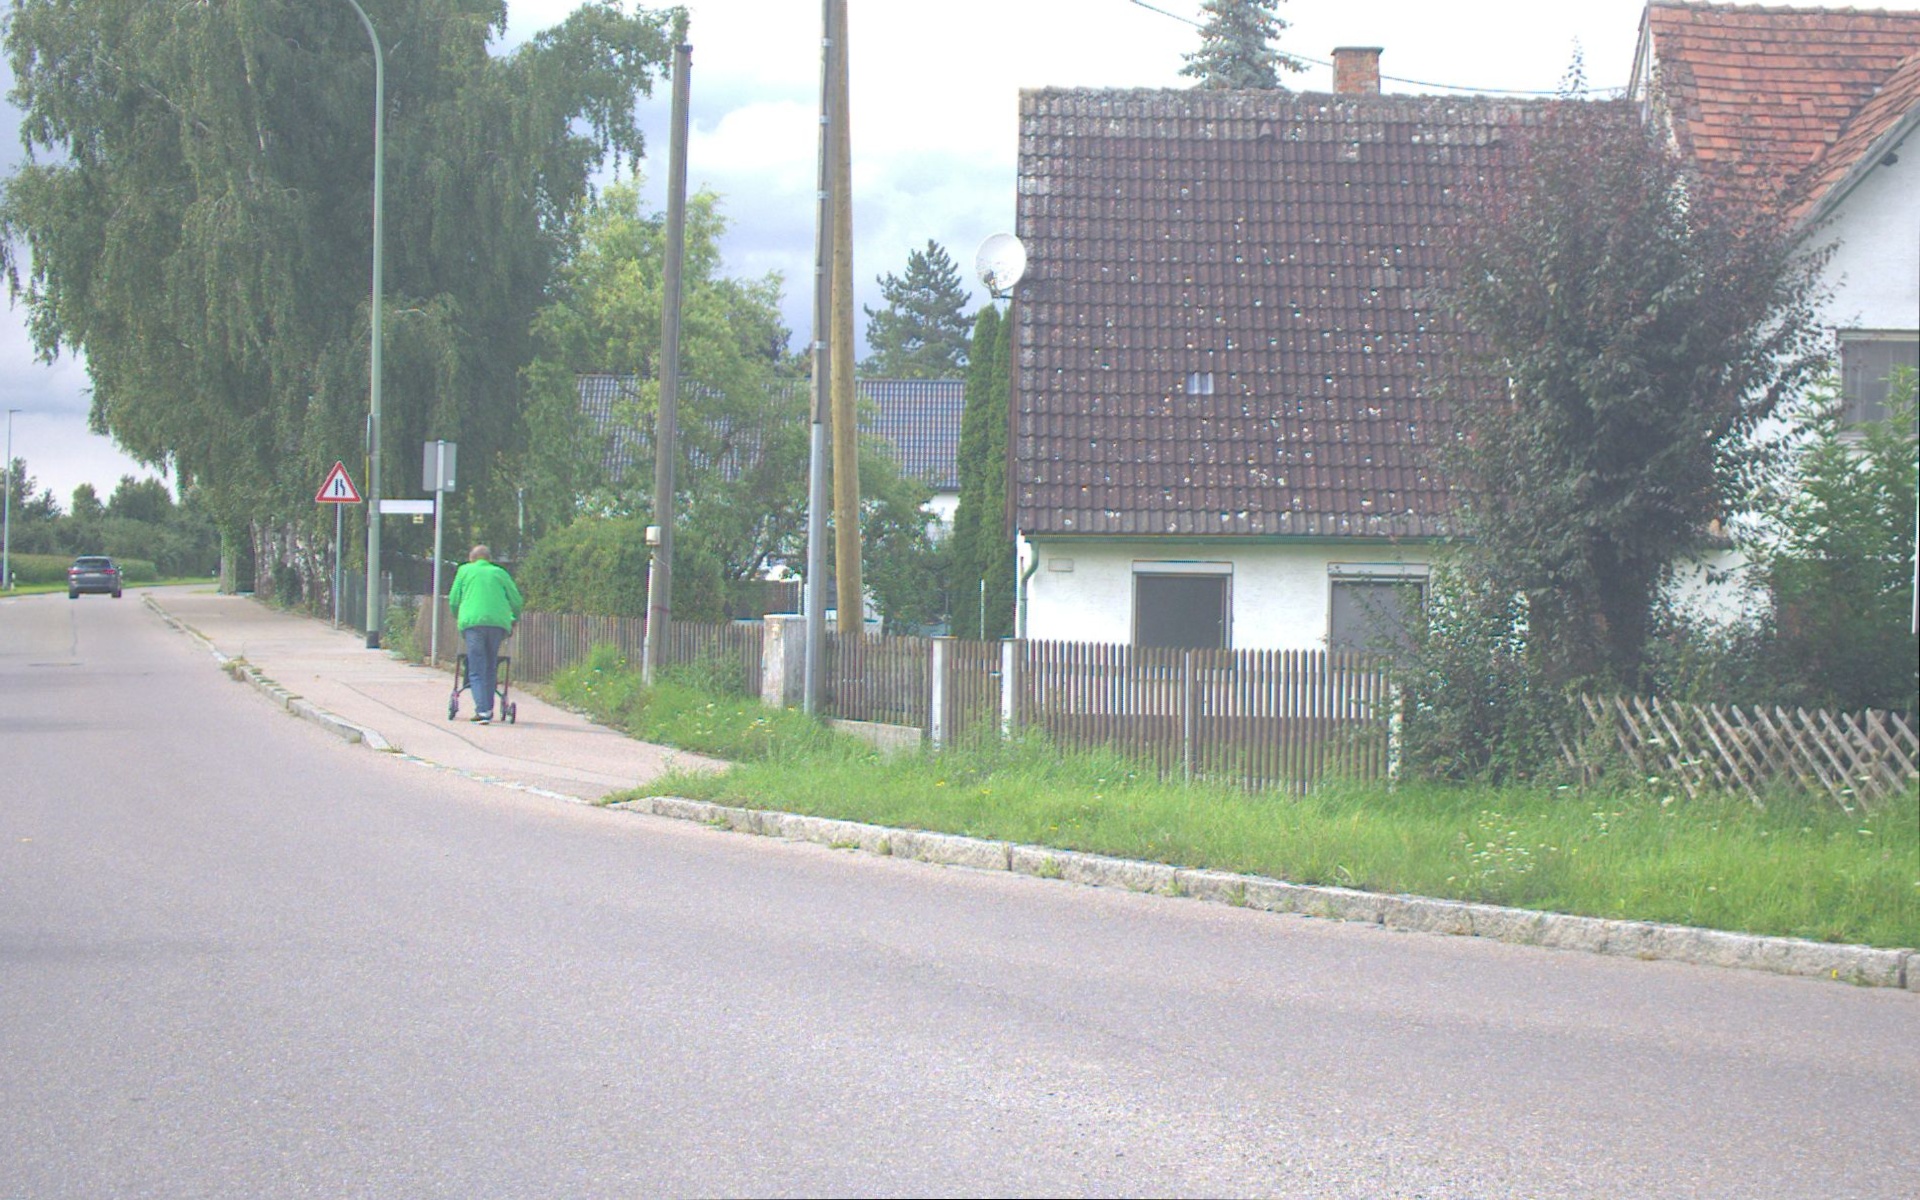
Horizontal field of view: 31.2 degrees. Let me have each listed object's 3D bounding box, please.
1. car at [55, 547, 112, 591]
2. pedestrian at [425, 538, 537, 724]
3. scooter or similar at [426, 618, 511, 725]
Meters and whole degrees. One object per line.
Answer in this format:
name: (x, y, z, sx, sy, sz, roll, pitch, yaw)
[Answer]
car: (-33.031, -1.190, 129.545, 1.993, 1.546, 4.001, 1, 1, -15)
pedestrian: (-4.479, 0.283, 32.108, 0.788, 1.659, 0.712, 5, -1, -18)
scooter or similar: (-4.693, 0.677, 32.813, 0.630, 0.945, 0.622, 5, 0, -18)
